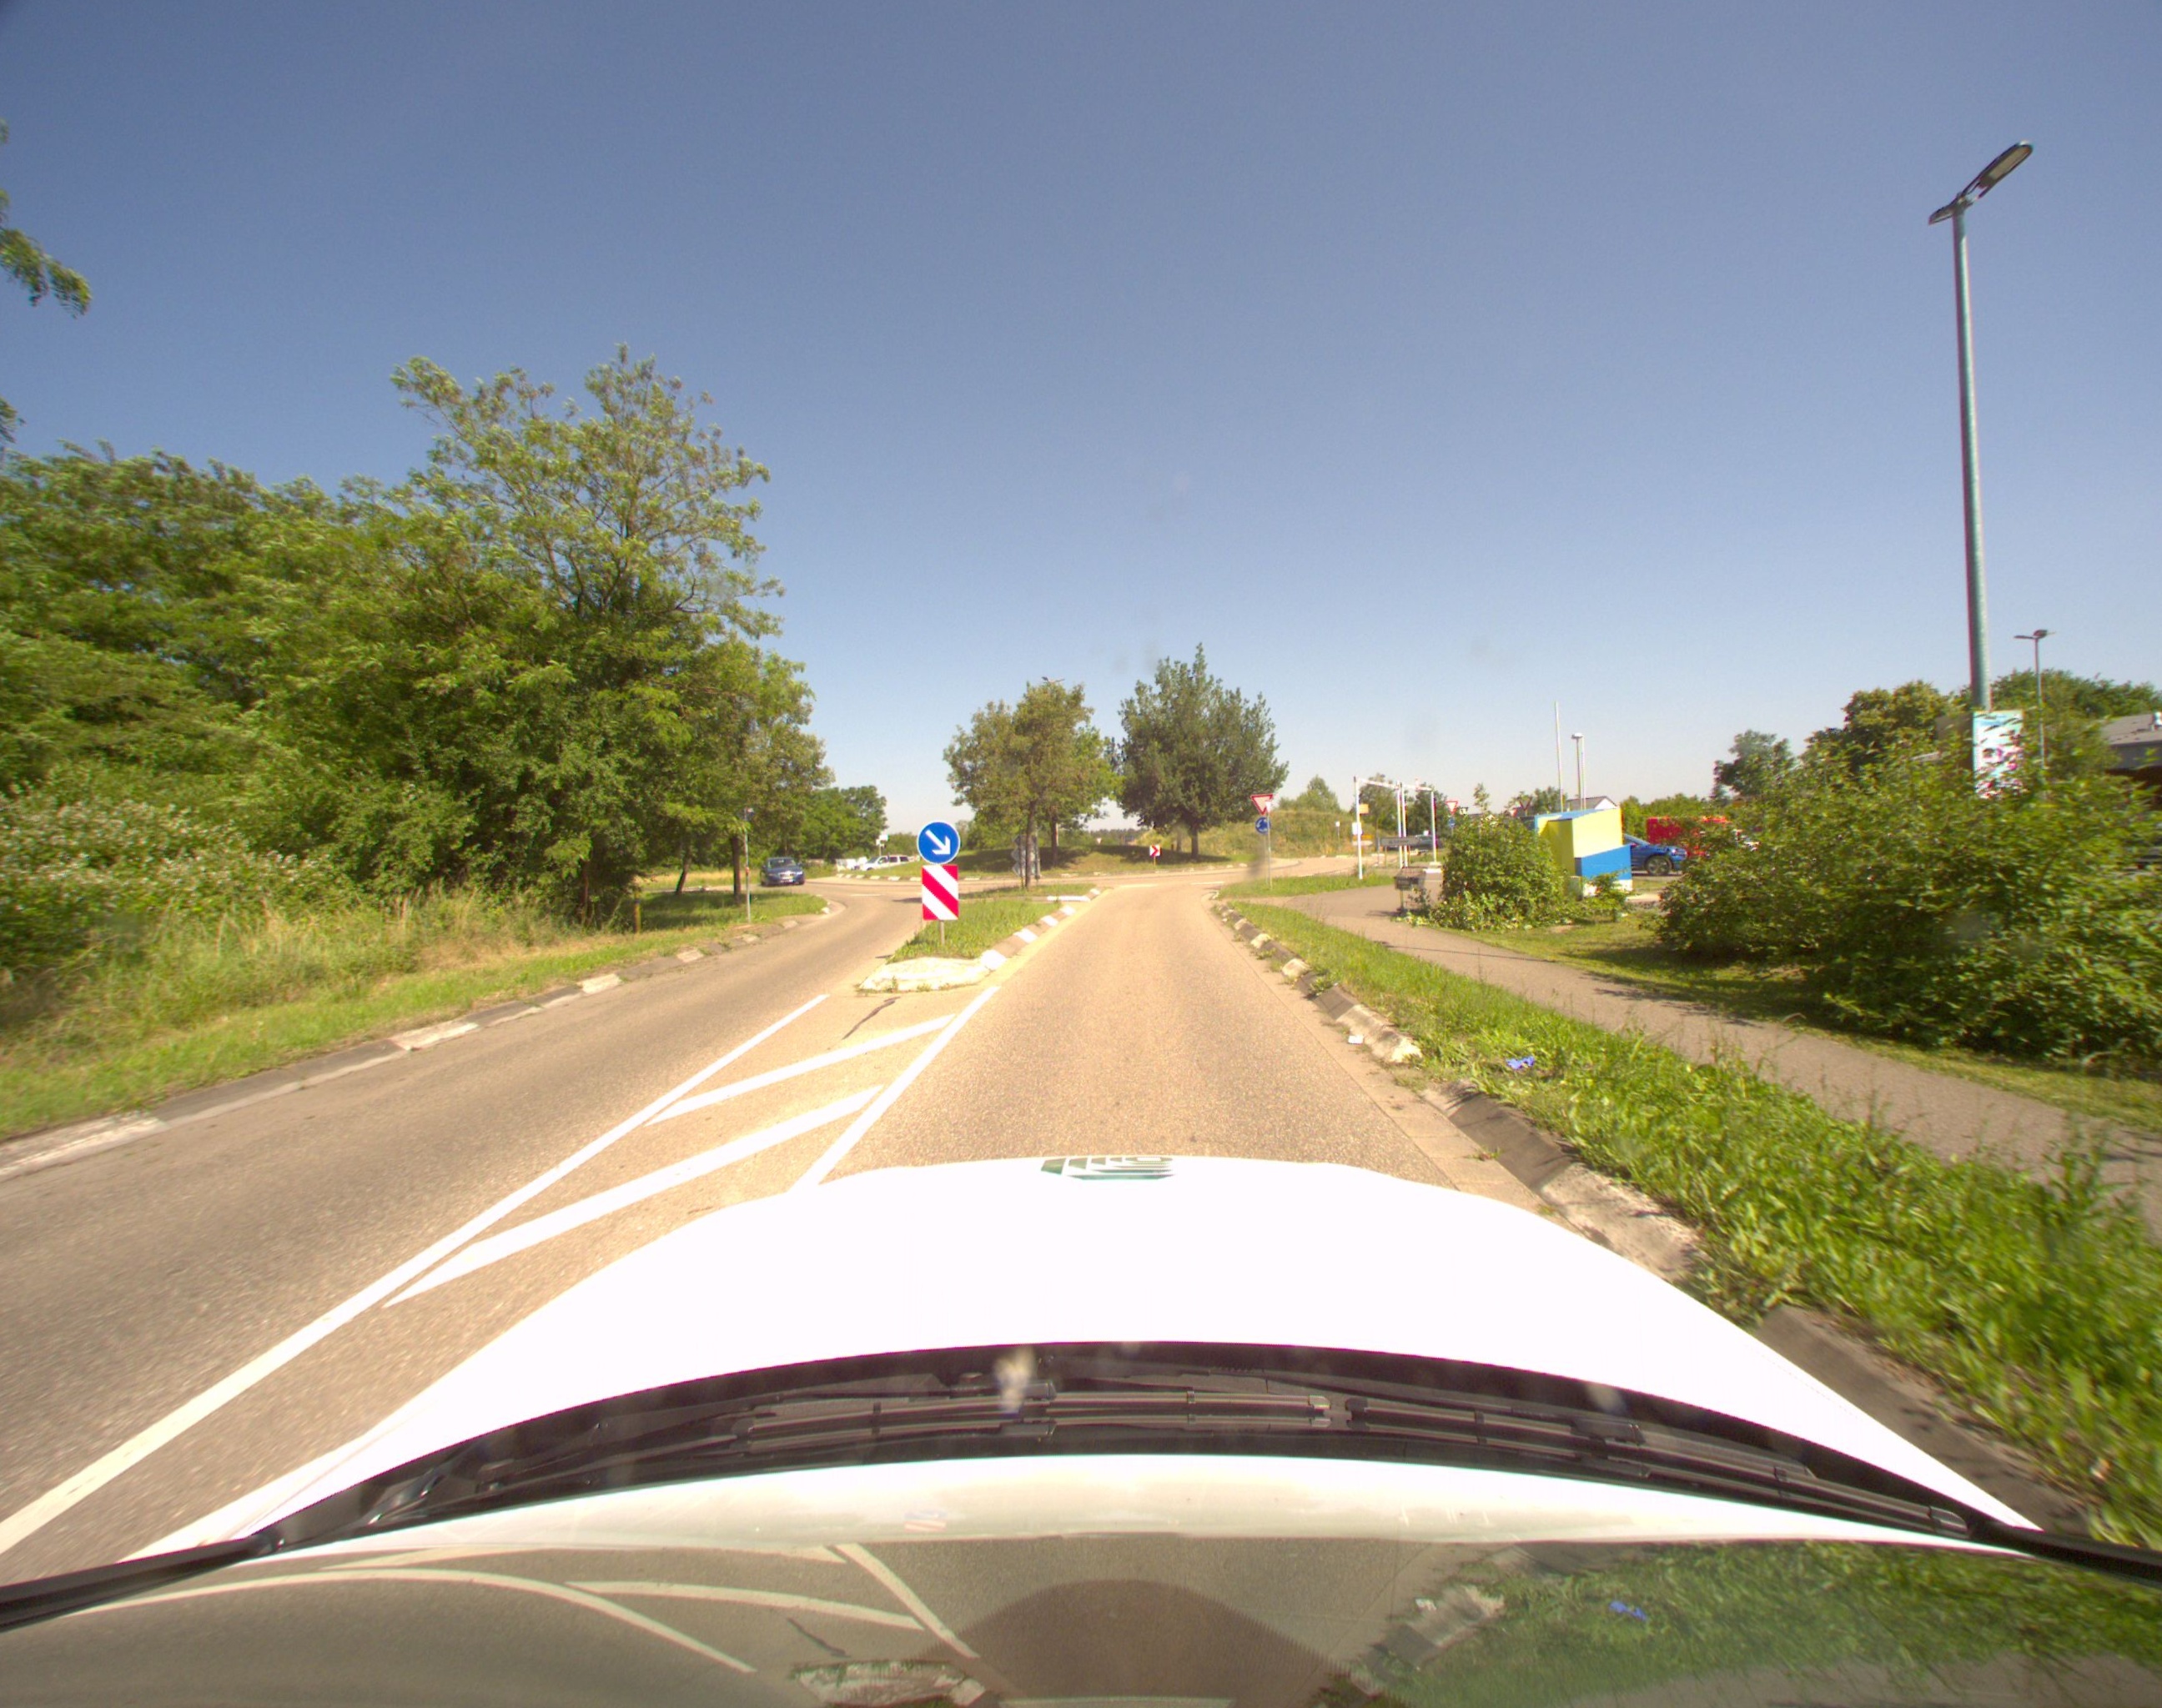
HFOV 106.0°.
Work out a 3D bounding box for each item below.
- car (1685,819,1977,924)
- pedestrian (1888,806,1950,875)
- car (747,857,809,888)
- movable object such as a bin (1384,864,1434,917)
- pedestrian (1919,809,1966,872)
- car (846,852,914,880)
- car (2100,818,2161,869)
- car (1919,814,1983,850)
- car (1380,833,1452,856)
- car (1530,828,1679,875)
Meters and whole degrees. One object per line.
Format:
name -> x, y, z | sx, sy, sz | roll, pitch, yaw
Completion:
car -> 13.364, 0.286, 14.684 | 3.583, 1.562, 1.813 | -3, 0, -1
pedestrian -> 22.115, -0.355, 21.491 | 0.881, 1.785, 0.836 | -2, 0, -22
car -> -15.708, 0.959, 42.071 | 1.847, 1.387, 4.375 | -4, 1, -36
movable object such as a bin -> 7.557, 0.816, 18.729 | 0.859, 1.120, 1.464 | -2, 0, 29
pedestrian -> 23.056, -0.358, 21.792 | 0.703, 1.648, 0.593 | -2, 0, -18
car -> -14.933, 0.874, 60.638 | 1.875, 1.815, 4.625 | -2, 0, 40
car -> 33.285, -0.363, 24.819 | 3.491, 1.457, 1.705 | -2, 0, -19
car -> 41.320, -1.048, 38.693 | 1.132, 1.635, 1.814 | -2, 0, -24
car -> 25.948, -0.750, 63.130 | 4.757, 1.592, 1.994 | -2, 0, -9
car -> 18.876, -0.070, 29.465 | 4.370, 1.571, 1.727 | -1, 1, 37
